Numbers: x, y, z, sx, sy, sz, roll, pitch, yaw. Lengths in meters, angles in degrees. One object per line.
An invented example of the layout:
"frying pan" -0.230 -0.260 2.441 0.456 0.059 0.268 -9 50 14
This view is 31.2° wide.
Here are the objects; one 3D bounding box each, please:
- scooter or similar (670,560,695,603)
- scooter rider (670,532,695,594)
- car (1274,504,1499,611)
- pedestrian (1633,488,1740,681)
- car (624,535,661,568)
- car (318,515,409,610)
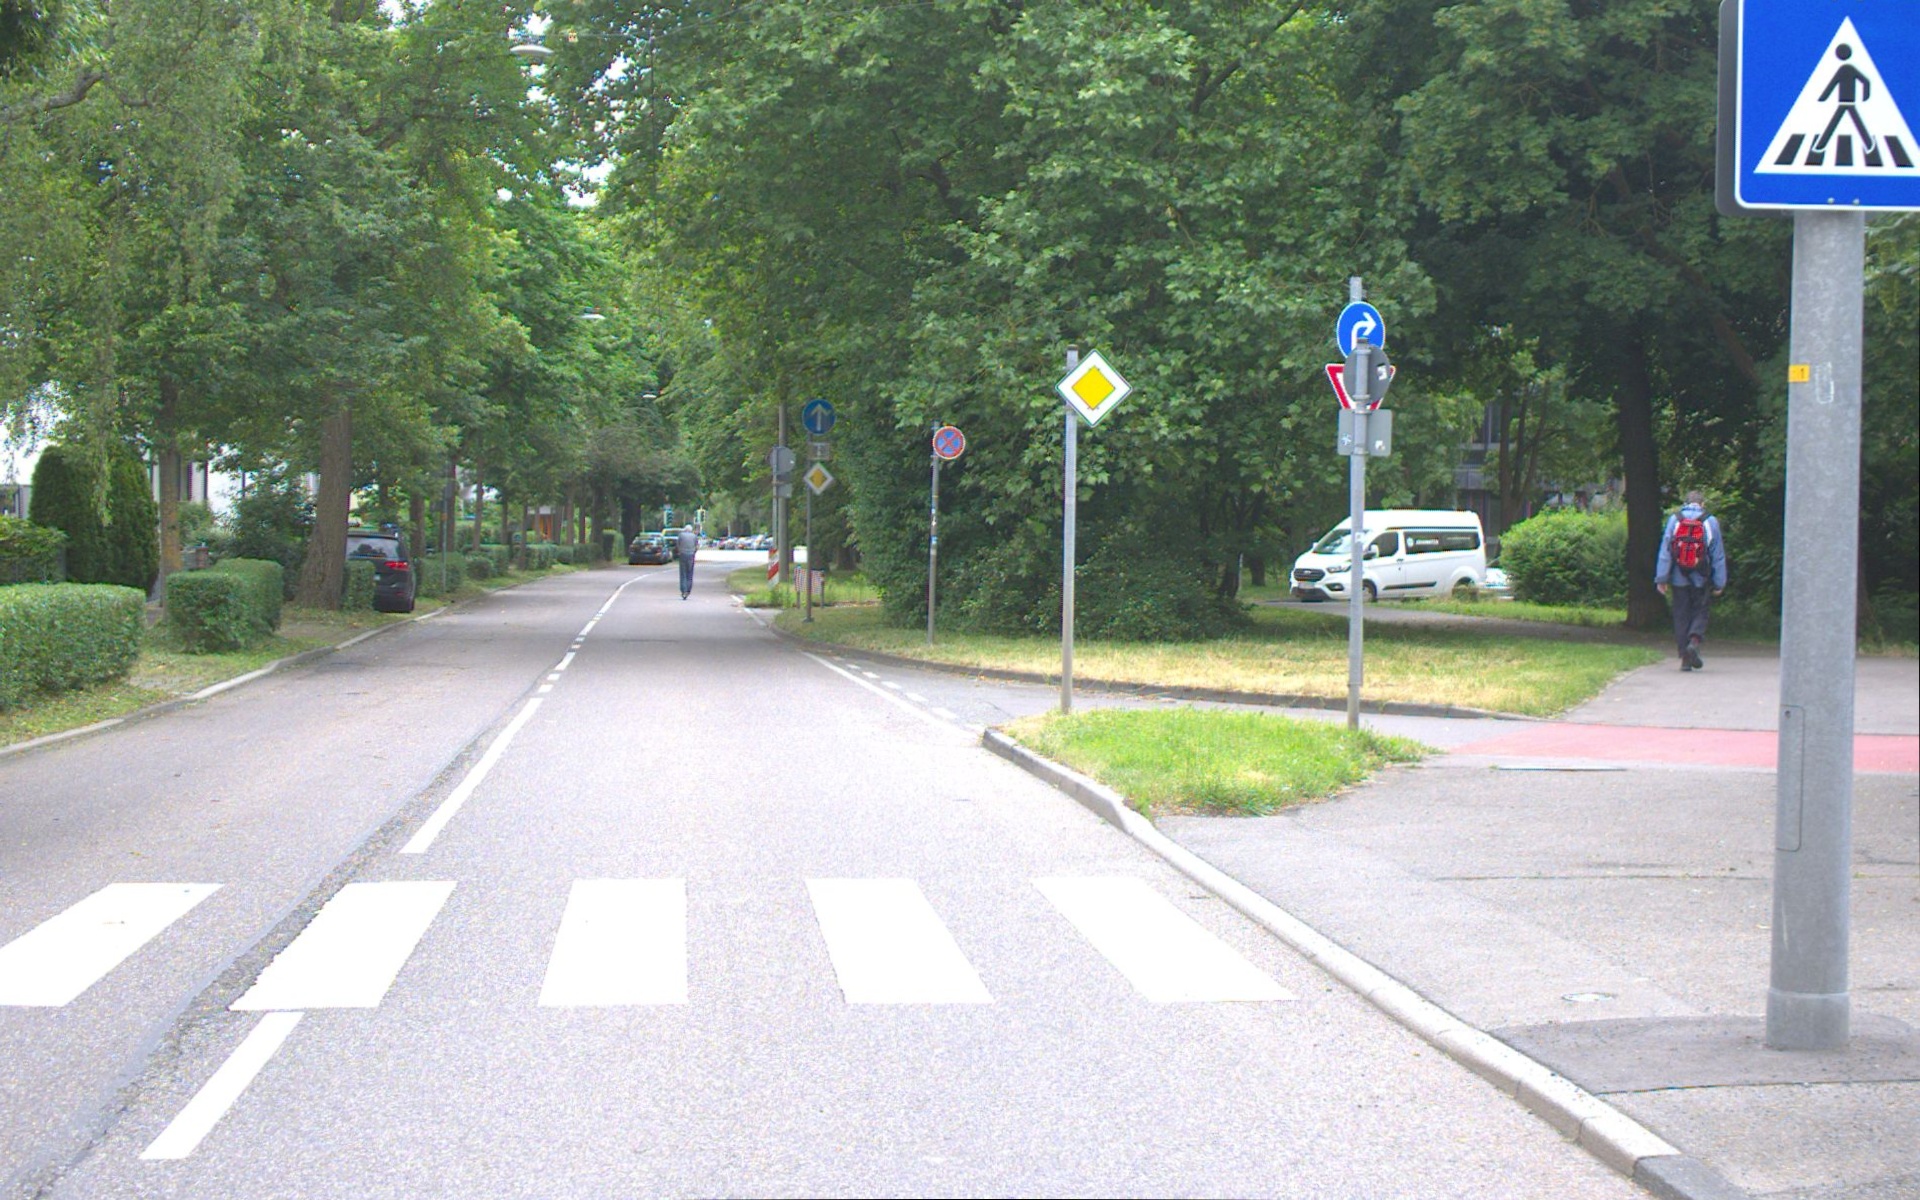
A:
"scooter or similar" -7.000 -0.479 86.793 0.600 1.051 0.873 0 3 -2
"scooter rider" -7.008 -0.926 86.929 0.600 1.547 0.566 0 3 -2
"car" 10.283 -1.005 82.700 5.369 2.289 2.137 1 3 -40
"pedestrian" 7.406 -0.171 35.072 0.924 1.865 1.019 -3 4 8
"car" -16.442 -2.523 178.051 1.833 1.493 3.657 3 3 -5
"car" -12.141 -0.792 70.123 1.642 1.718 3.801 3 2 -9
